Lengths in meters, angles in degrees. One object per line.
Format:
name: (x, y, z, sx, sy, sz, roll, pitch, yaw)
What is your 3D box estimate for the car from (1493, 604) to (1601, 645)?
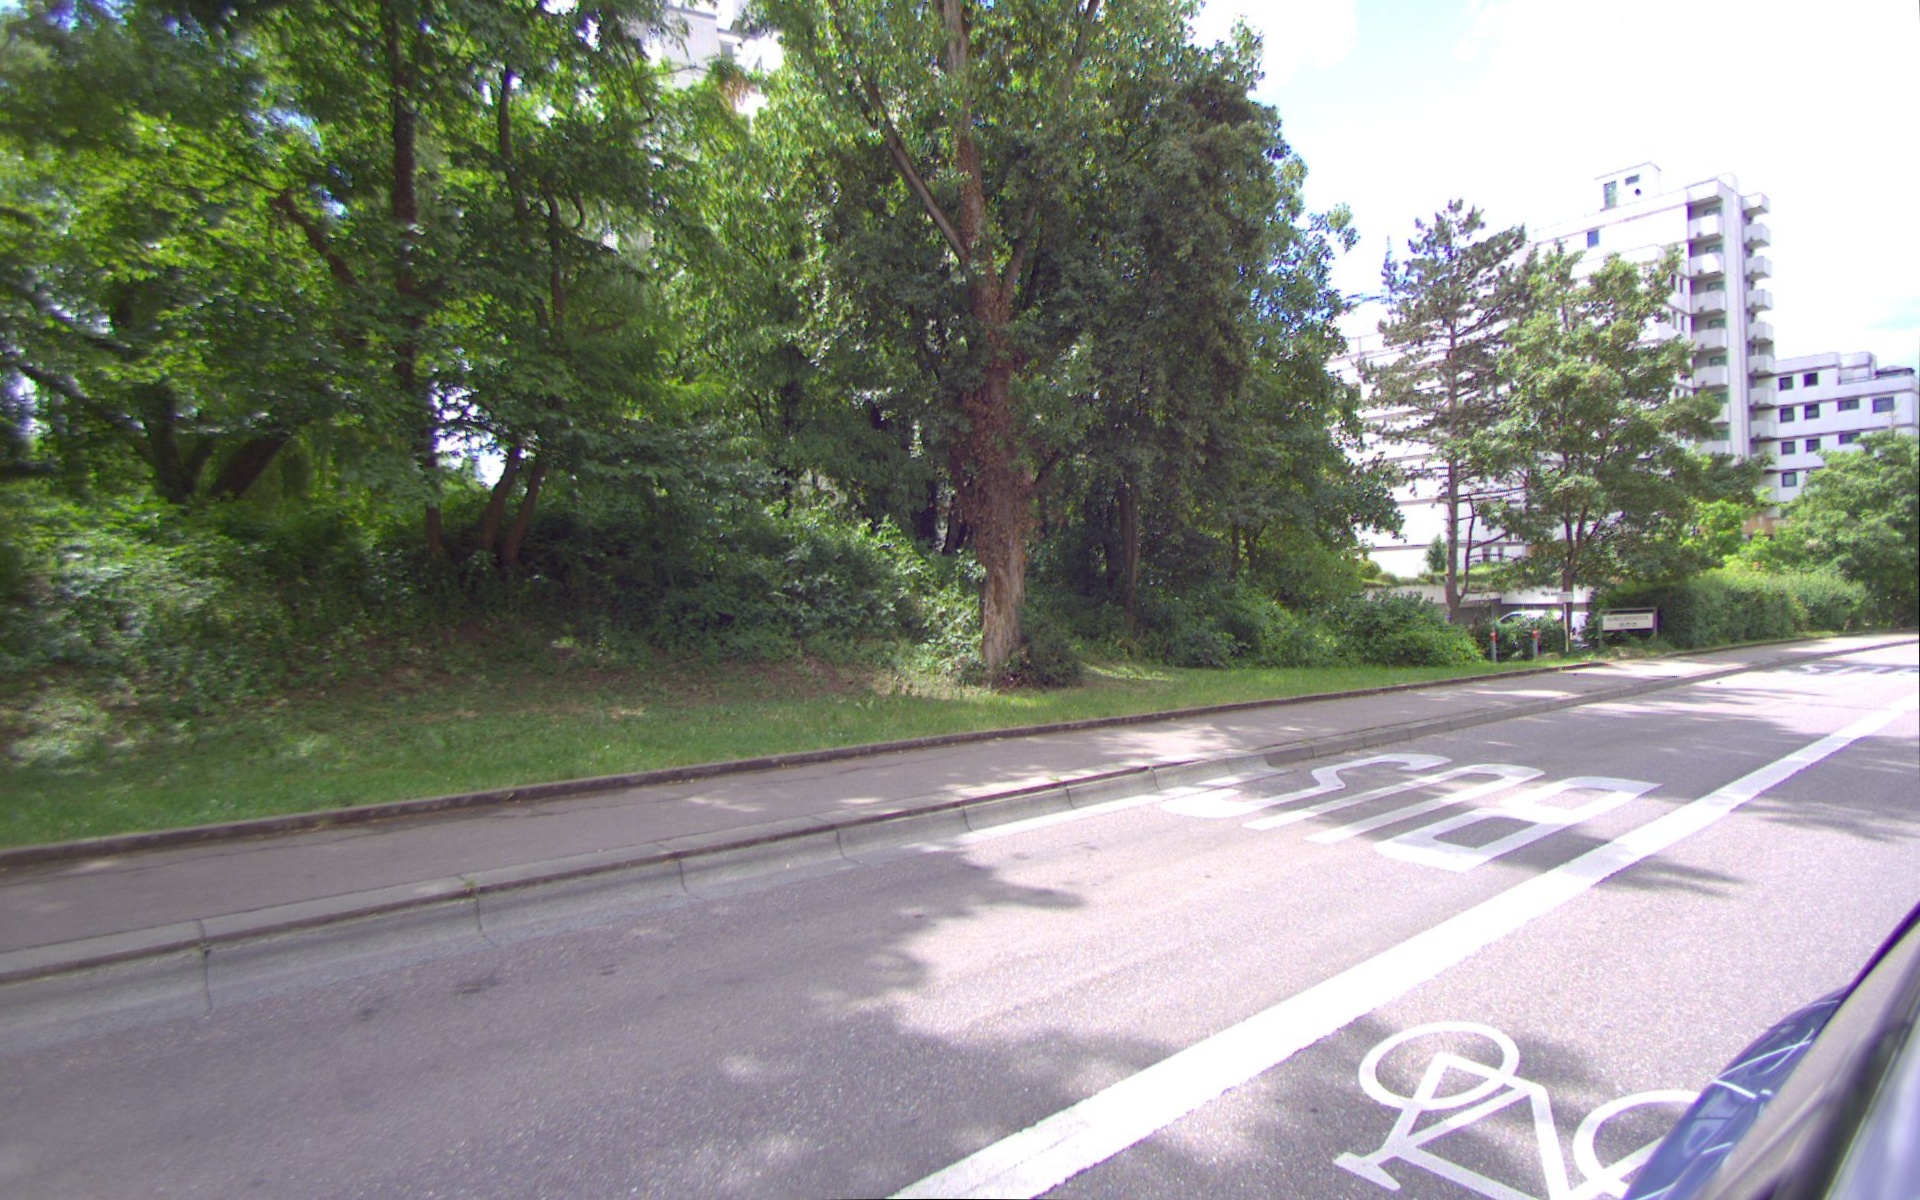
car: (31.044, 1.236, 53.640, 1.962, 2.039, 4.549, -1, 0, -34)
